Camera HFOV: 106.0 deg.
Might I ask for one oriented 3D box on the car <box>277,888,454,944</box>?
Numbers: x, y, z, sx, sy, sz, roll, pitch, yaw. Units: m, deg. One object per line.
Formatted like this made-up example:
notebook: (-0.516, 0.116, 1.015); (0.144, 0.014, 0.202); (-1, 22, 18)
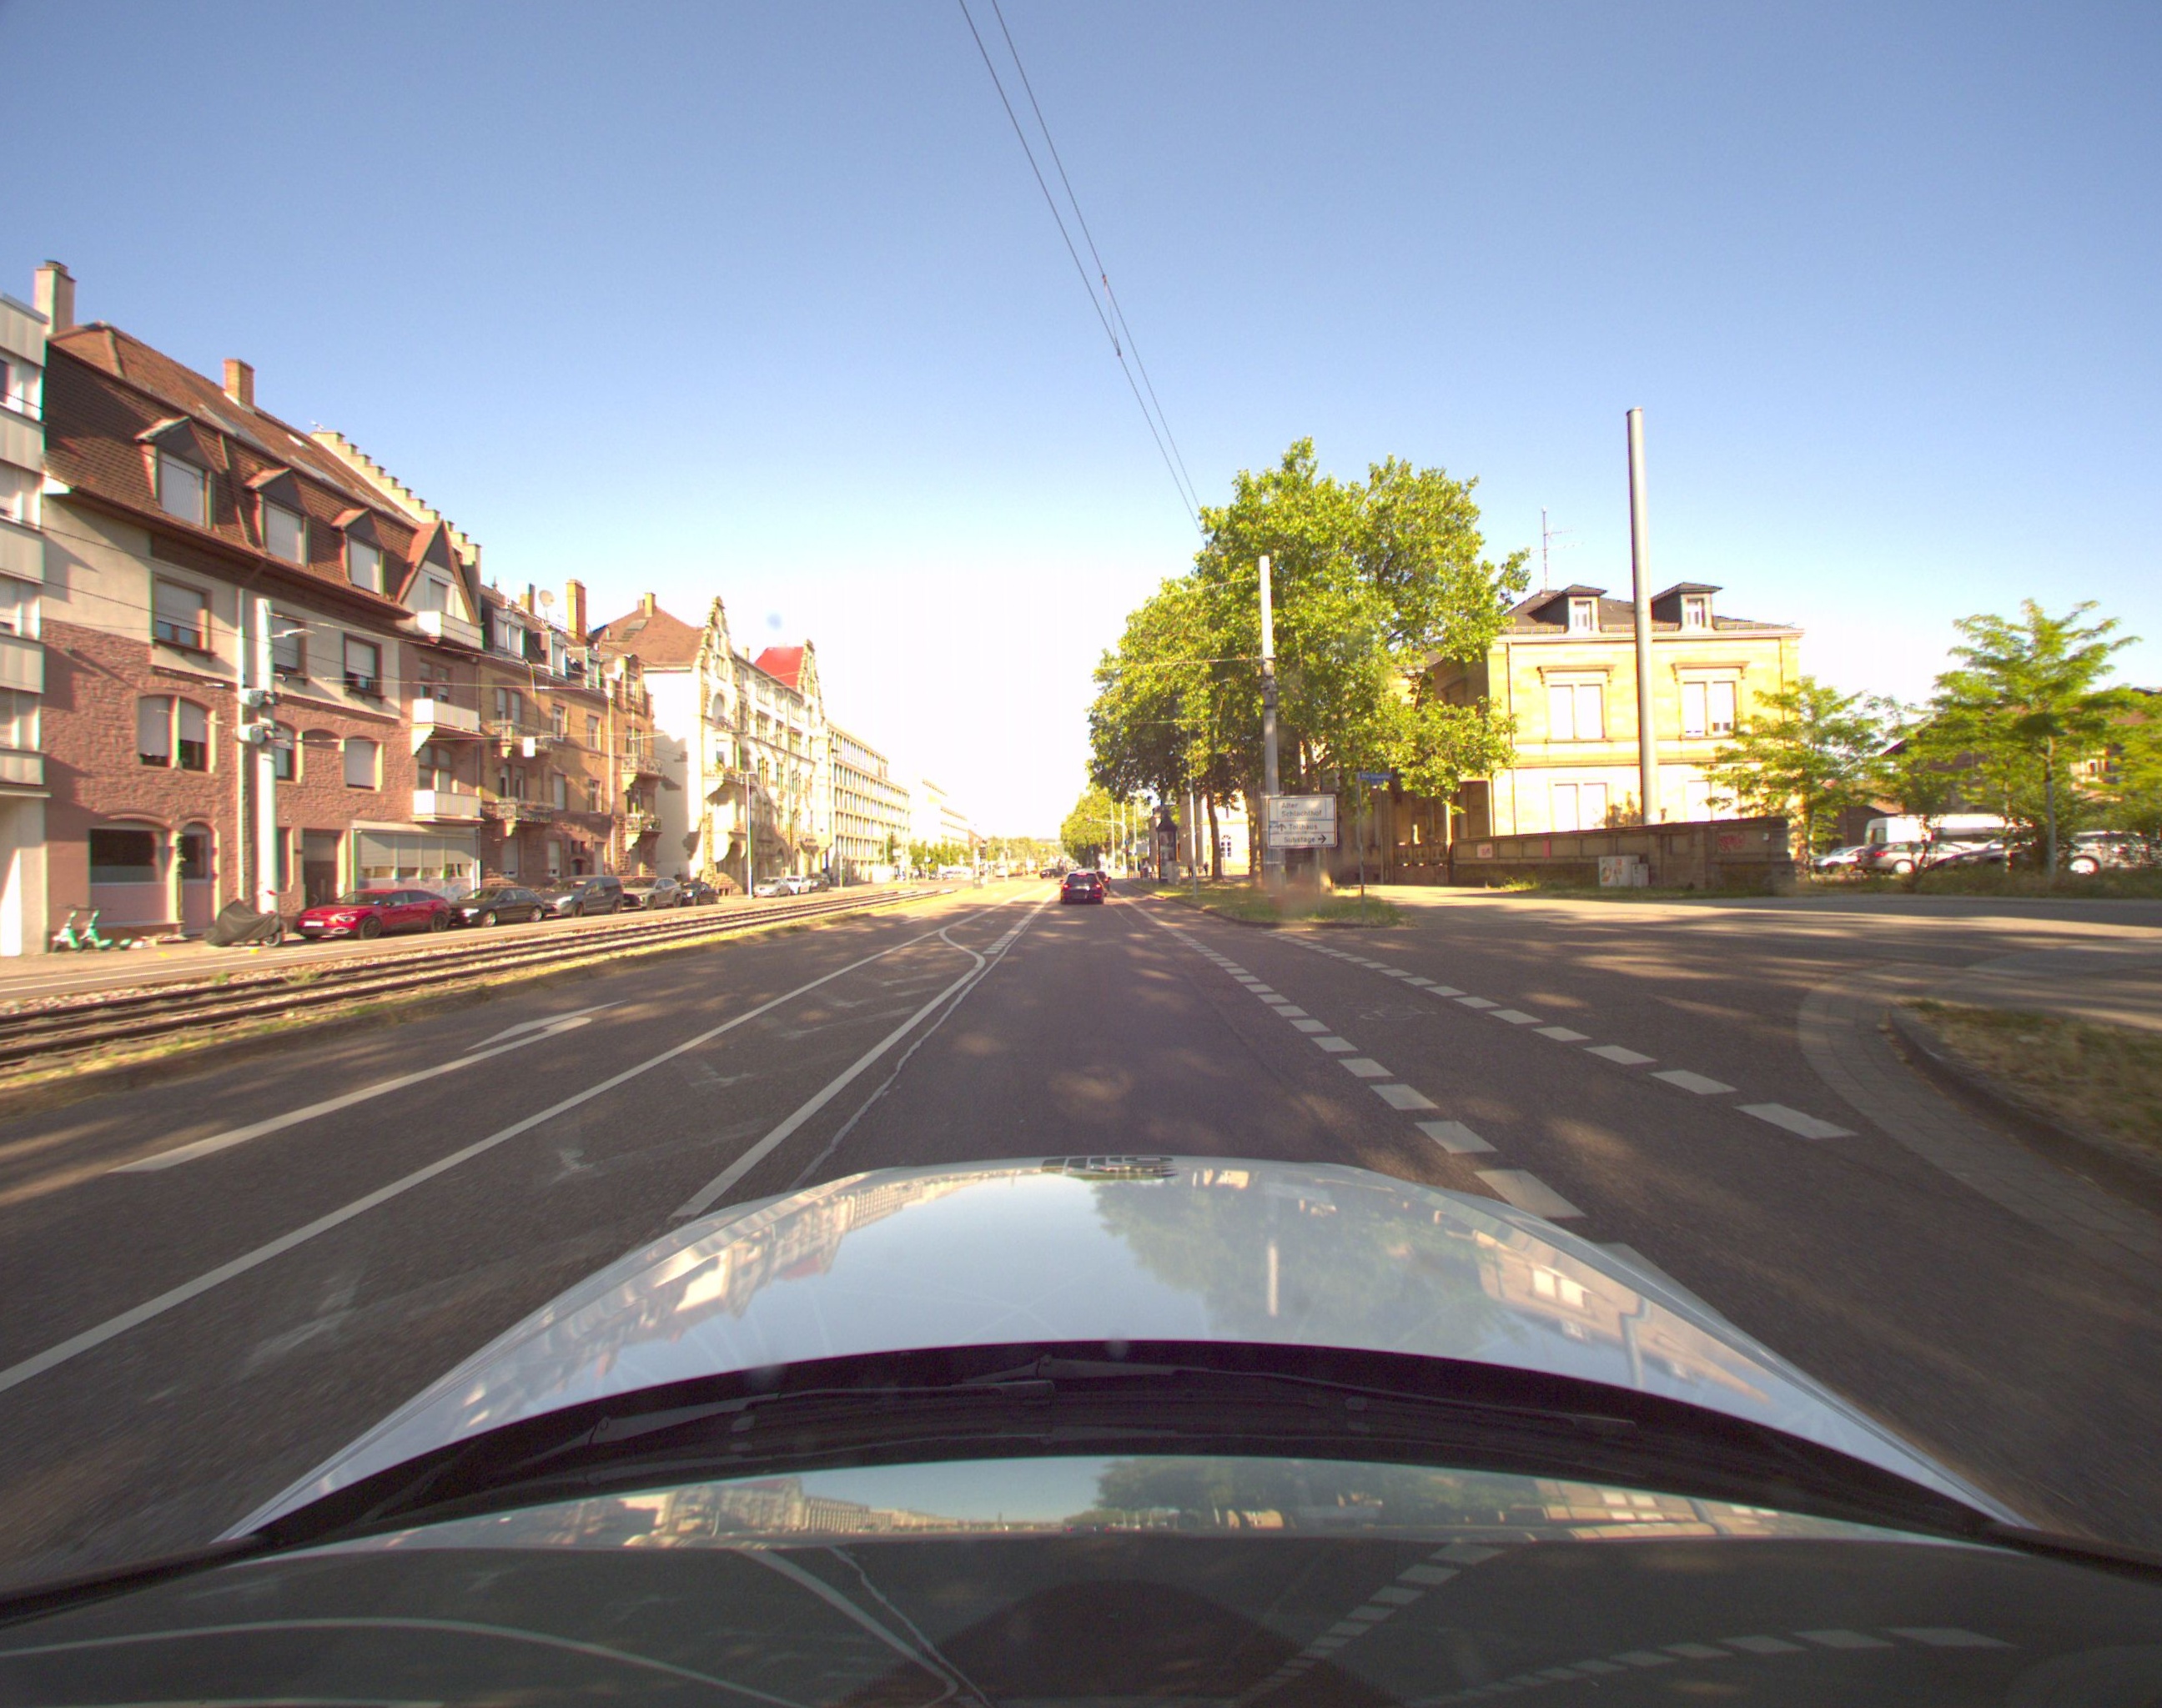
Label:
car: (-22.192, 1.879, 25.527); (1.789, 1.460, 4.264); (1, -1, -1)

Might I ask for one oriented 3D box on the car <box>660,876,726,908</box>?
car: (-22.144, 2.136, 46.644); (1.681, 1.652, 4.198); (1, -1, 0)

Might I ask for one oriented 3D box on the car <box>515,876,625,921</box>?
car: (-22.072, 1.885, 35.420); (1.787, 1.754, 4.457); (1, -1, 3)

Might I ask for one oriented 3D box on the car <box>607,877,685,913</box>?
car: (-22.098, 2.033, 41.581); (1.681, 1.652, 4.198); (1, -1, 0)

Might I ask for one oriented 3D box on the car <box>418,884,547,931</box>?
car: (-22.128, 1.946, 30.344); (1.789, 1.510, 3.999); (1, -1, 0)

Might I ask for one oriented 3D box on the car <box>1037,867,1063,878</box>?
car: (-4.185, 2.592, 111.610); (1.777, 1.510, 4.024); (-1, -2, 28)

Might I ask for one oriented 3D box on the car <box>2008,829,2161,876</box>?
car: (35.753, -0.045, 28.423); (4.078, 1.510, 1.809); (-2, -2, 22)

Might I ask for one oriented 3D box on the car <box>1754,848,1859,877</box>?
car: (41.218, 0.498, 46.382); (4.078, 1.510, 1.809); (-2, -2, 22)

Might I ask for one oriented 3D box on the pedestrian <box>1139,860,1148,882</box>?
pedestrian: (5.010, 1.363, 65.284); (0.584, 1.728, 0.652); (0, -1, 12)

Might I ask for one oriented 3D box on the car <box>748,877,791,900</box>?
car: (-22.448, 2.444, 58.894); (1.791, 1.510, 3.993); (1, -1, -5)

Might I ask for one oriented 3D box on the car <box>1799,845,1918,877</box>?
car: (40.428, 0.385, 42.469); (4.078, 1.510, 1.809); (-2, -2, 22)

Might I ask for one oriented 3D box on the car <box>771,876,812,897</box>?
car: (-22.769, 2.518, 64.291); (1.789, 1.510, 4.182); (1, -1, -2)

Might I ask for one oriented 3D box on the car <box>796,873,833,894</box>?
car: (-22.859, 2.500, 69.941); (1.789, 1.719, 4.182); (1, -1, -2)

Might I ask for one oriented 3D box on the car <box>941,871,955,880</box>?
car: (-23.356, 3.824, 143.063); (1.790, 1.510, 3.996); (-2, -1, -3)

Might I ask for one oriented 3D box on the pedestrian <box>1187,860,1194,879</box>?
pedestrian: (10.076, 1.450, 74.838); (0.584, 1.728, 0.652); (0, -1, 12)

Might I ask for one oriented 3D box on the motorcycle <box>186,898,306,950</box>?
motorcycle: (-22.533, 1.867, 22.026); (2.072, 1.327, 0.836); (1, -1, -16)

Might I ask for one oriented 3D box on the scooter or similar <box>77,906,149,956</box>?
scooter or similar: (-25.060, 1.974, 21.106); (0.390, 1.206, 1.200); (1, -1, 1)

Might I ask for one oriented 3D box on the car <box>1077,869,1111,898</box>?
car: (0.709, 1.617, 45.531); (1.788, 1.510, 3.999); (-2, -1, 0)

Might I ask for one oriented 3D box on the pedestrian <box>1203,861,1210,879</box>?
pedestrian: (11.501, 1.466, 74.684); (0.584, 1.728, 0.652); (0, -1, 14)

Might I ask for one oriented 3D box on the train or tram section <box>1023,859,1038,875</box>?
train or tram section: (-10.977, 2.859, 178.313); (2.818, 3.451, 9.056); (-2, -1, -2)

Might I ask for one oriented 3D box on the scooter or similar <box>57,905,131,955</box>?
scooter or similar: (-25.623, 1.957, 21.171); (0.390, 1.206, 1.200); (1, -1, 1)

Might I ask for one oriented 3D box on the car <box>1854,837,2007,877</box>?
car: (35.975, 0.163, 34.624); (4.078, 1.510, 1.809); (-2, -2, 22)

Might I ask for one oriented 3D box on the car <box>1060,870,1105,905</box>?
car: (0.026, 1.449, 36.064); (1.828, 1.391, 4.157); (-1, -1, -1)

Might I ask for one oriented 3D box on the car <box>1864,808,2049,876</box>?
car: (39.224, -0.467, 36.685); (5.296, 2.807, 1.809); (-2, -2, 22)

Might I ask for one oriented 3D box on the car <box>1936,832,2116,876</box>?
car: (35.970, 0.057, 31.156); (4.078, 1.510, 1.809); (-2, -2, 22)

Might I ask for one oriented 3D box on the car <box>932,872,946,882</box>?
car: (-23.758, 3.825, 136.290); (1.790, 1.510, 3.996); (-2, -1, -3)

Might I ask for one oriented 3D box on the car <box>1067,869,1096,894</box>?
car: (0.040, 1.834, 55.089); (1.788, 1.510, 3.999); (-2, -1, 0)

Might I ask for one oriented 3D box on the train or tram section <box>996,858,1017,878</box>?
train or tram section: (-13.445, 2.509, 146.760); (2.816, 3.451, 9.061); (-2, -1, 0)
